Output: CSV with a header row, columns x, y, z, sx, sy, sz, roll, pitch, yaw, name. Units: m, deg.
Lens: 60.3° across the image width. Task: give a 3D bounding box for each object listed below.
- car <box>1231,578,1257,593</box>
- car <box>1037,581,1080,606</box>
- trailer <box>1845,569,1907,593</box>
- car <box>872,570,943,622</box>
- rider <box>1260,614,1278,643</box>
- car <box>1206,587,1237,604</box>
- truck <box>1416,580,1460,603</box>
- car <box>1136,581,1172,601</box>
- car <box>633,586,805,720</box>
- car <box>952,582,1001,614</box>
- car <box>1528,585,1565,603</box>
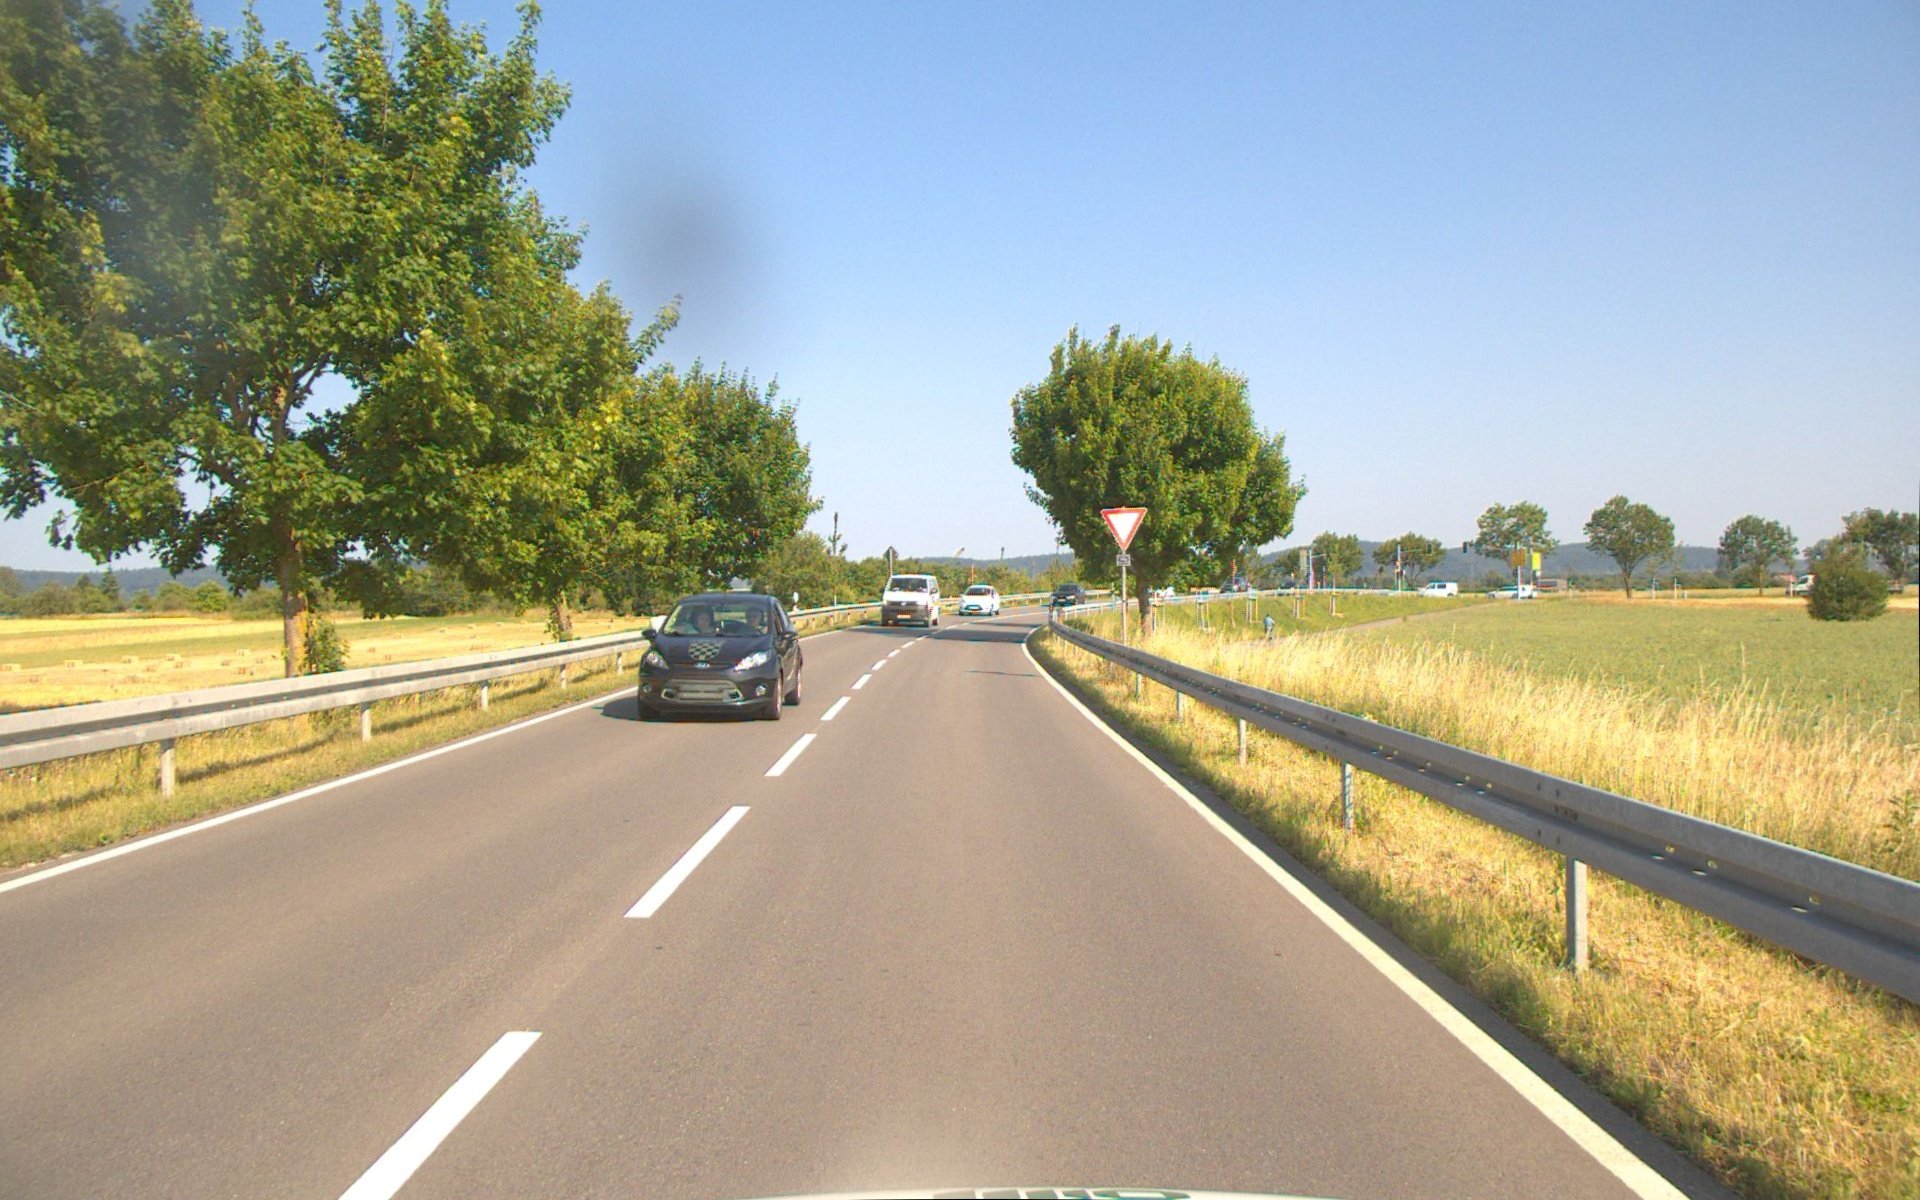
x,y,z,sx,sy,sz,roll,pitch,yaw,name
30.004,-1.492,174.774,1.952,1.559,4.593,1,0,19,car
6.533,-0.437,109.138,1.951,1.559,4.595,1,0,14,car
94.151,-1.922,169.990,5.345,2.395,3.347,0,-1,32,trailer
-1.965,-0.157,63.597,1.951,1.917,4.595,1,0,8,car
16.524,1.529,88.324,0.596,1.554,1.826,0,-1,21,rider
24.561,-0.390,155.422,1.953,1.559,4.591,1,0,21,car
56.400,-1.023,195.228,4.943,2.573,2.001,1,-1,14,truck
15.960,-0.717,135.907,1.952,1.559,4.593,1,0,19,car
-2.885,0.589,20.494,1.610,1.497,3.806,0,0,-1,car
0.877,-0.103,83.607,1.861,1.559,4.595,1,0,8,car
68.237,-0.730,192.450,3.907,2.049,1.999,1,-1,24,car
